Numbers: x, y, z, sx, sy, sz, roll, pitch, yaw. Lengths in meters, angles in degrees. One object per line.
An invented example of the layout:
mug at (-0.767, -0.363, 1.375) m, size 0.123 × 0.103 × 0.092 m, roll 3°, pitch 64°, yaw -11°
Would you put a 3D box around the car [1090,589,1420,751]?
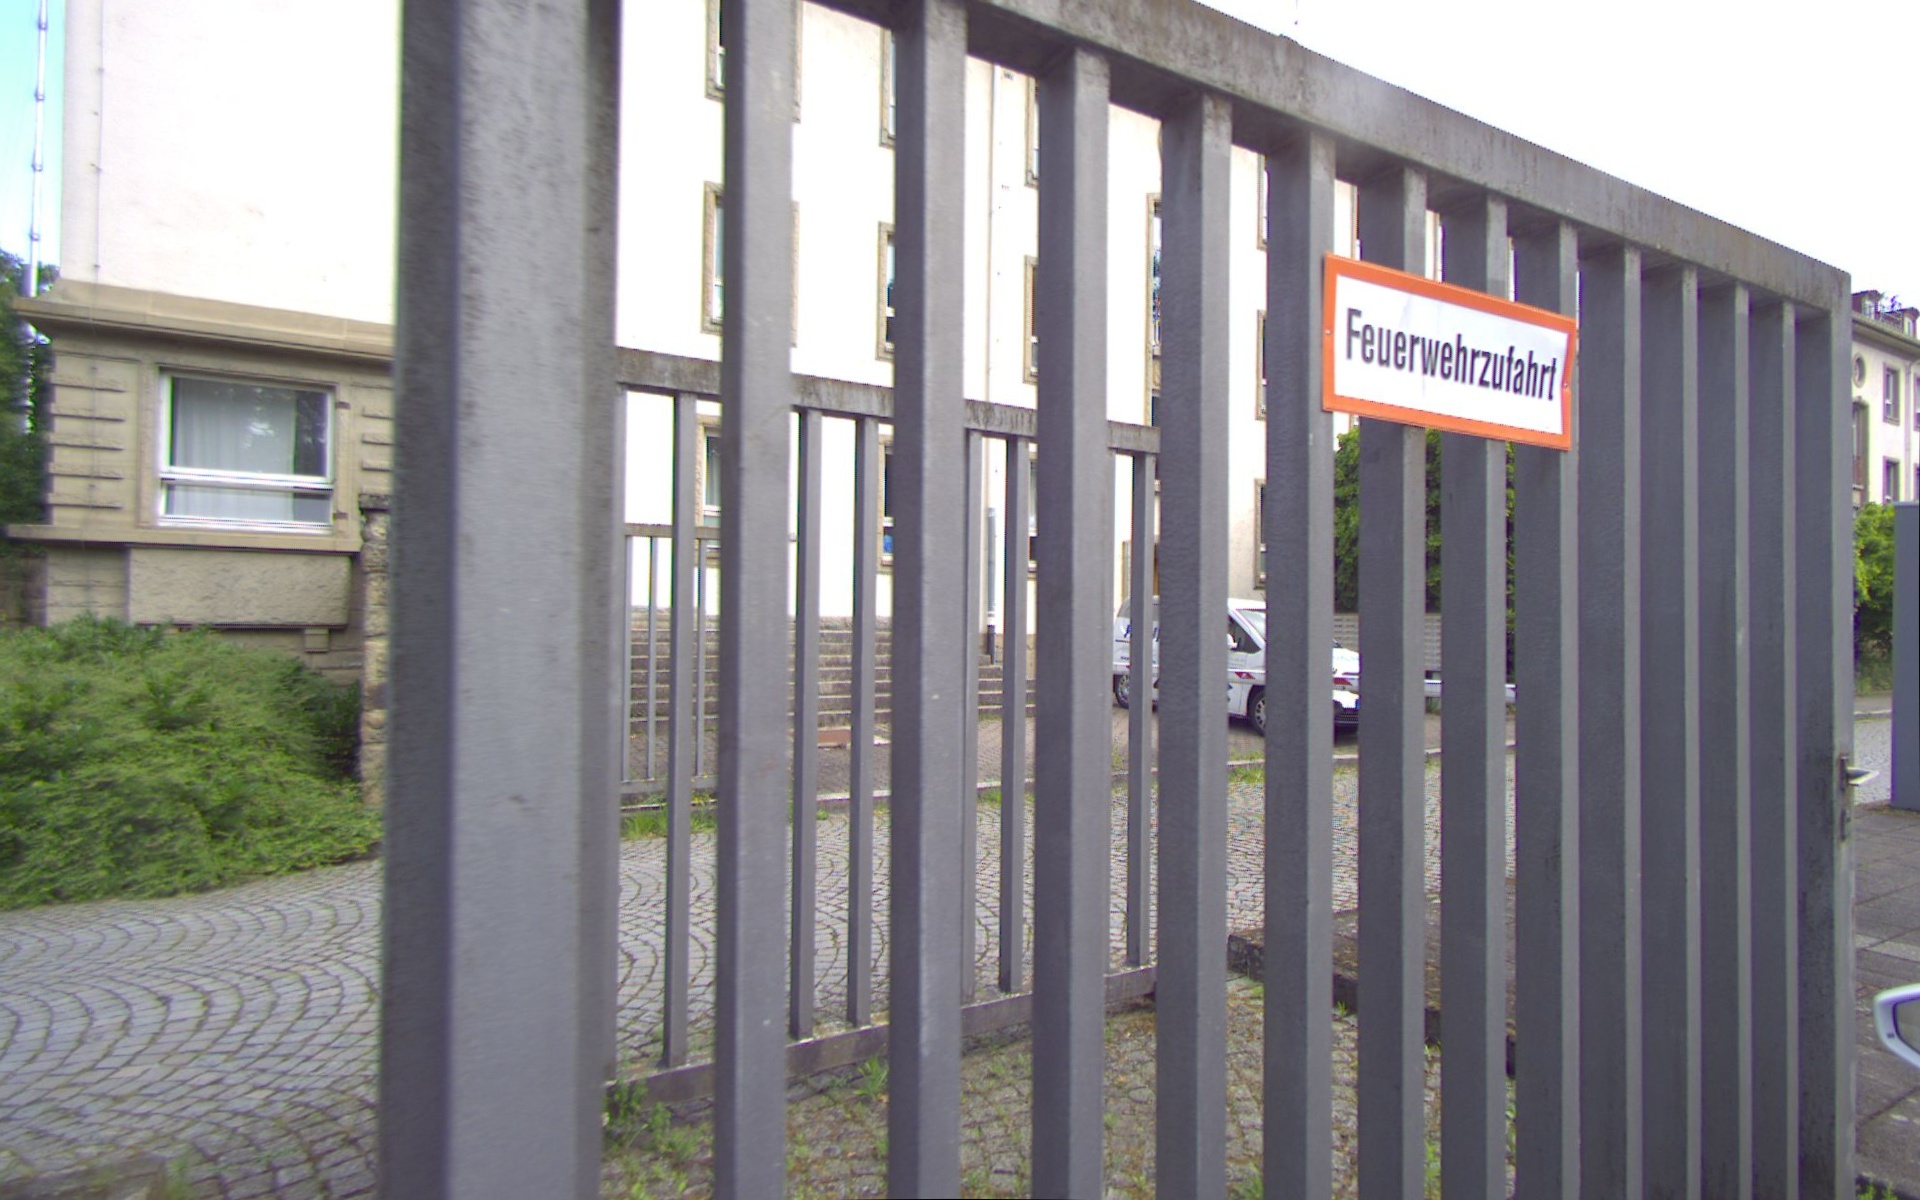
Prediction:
car at (4.047, 0.845, 14.549) m, size 1.839 × 1.775 × 4.410 m, roll 1°, pitch 3°, yaw -32°
